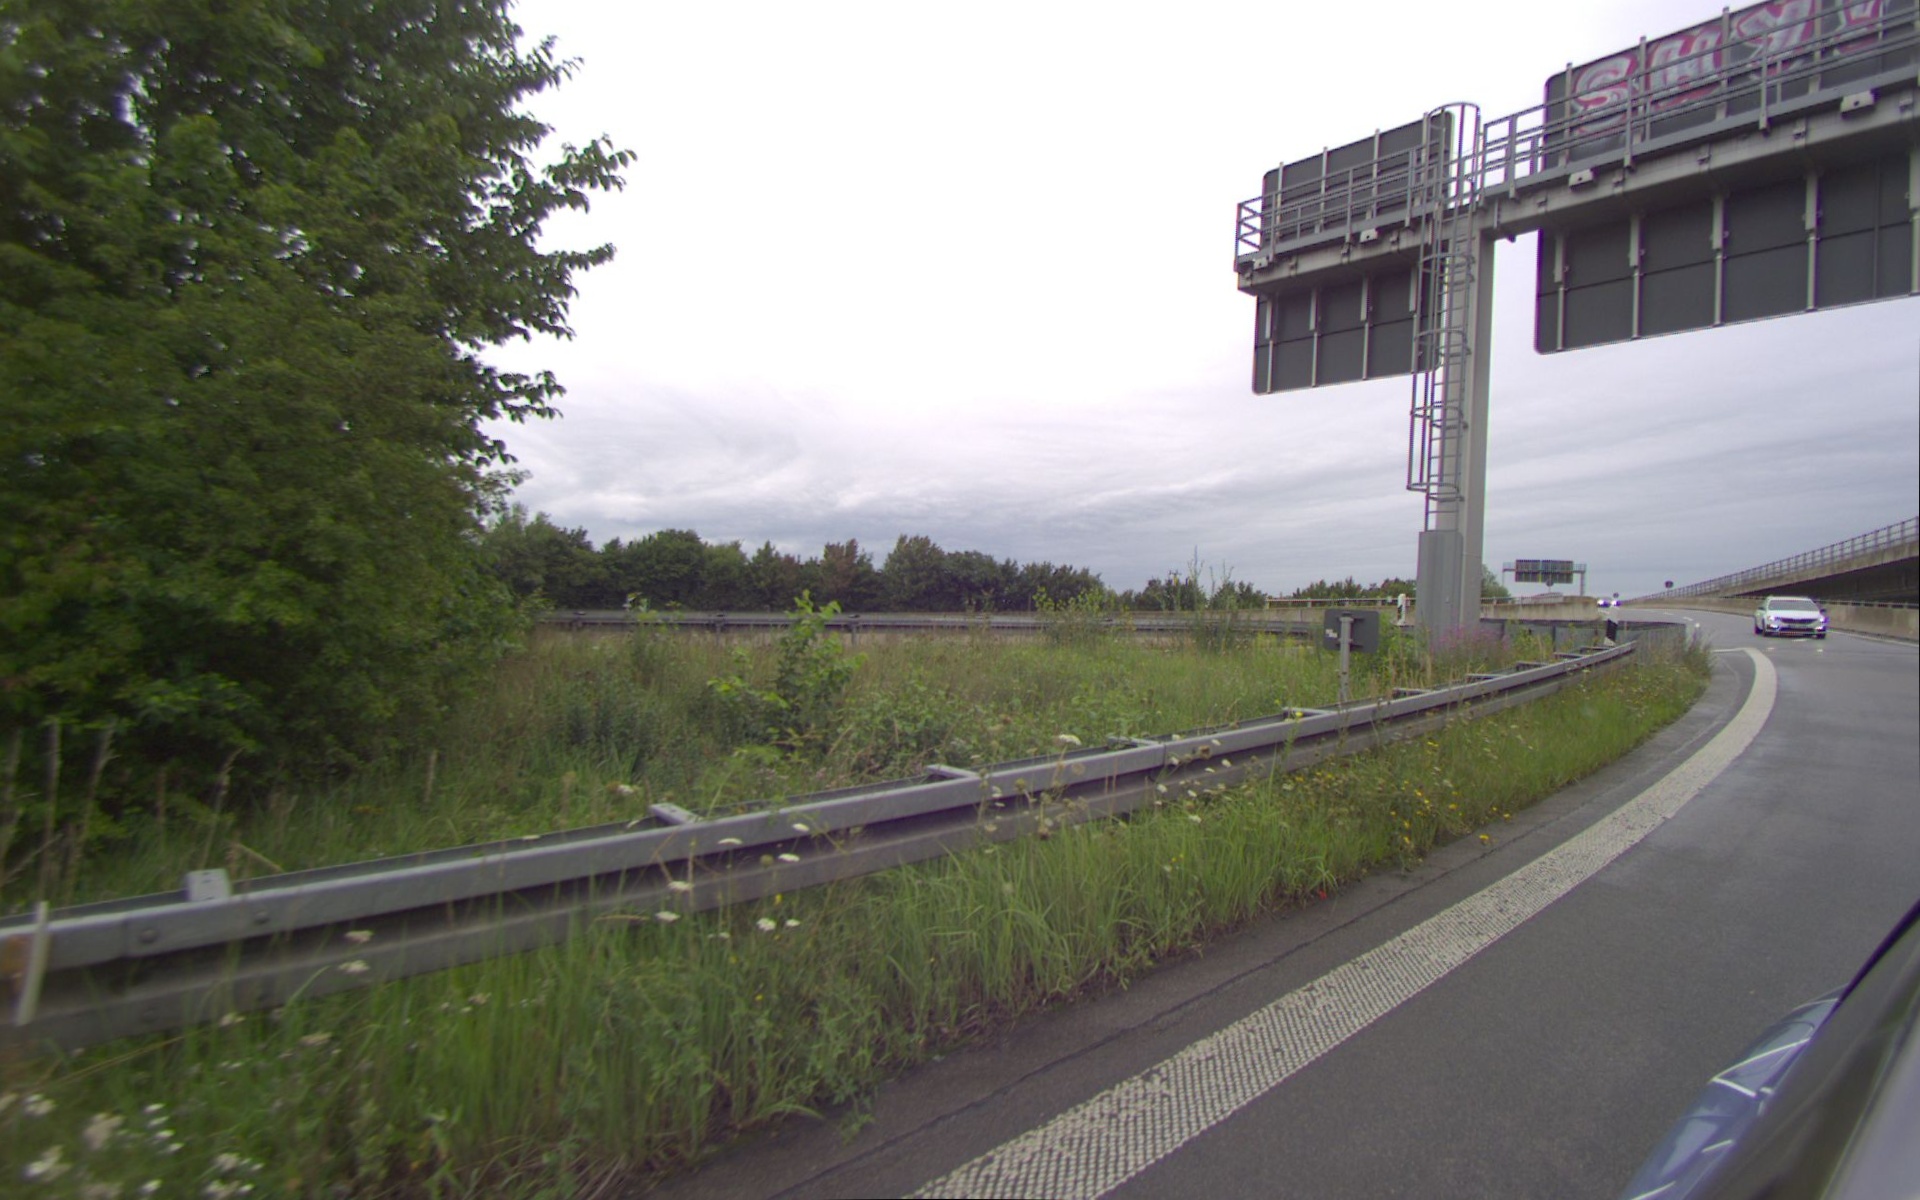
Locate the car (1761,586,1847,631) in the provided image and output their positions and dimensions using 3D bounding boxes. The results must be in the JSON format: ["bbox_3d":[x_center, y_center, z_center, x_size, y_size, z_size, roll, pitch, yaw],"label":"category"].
[{"bbox_3d":[30.980,0.292,37.278,1.904,1.465,4.500,4,2,34],"label":"car"}]
